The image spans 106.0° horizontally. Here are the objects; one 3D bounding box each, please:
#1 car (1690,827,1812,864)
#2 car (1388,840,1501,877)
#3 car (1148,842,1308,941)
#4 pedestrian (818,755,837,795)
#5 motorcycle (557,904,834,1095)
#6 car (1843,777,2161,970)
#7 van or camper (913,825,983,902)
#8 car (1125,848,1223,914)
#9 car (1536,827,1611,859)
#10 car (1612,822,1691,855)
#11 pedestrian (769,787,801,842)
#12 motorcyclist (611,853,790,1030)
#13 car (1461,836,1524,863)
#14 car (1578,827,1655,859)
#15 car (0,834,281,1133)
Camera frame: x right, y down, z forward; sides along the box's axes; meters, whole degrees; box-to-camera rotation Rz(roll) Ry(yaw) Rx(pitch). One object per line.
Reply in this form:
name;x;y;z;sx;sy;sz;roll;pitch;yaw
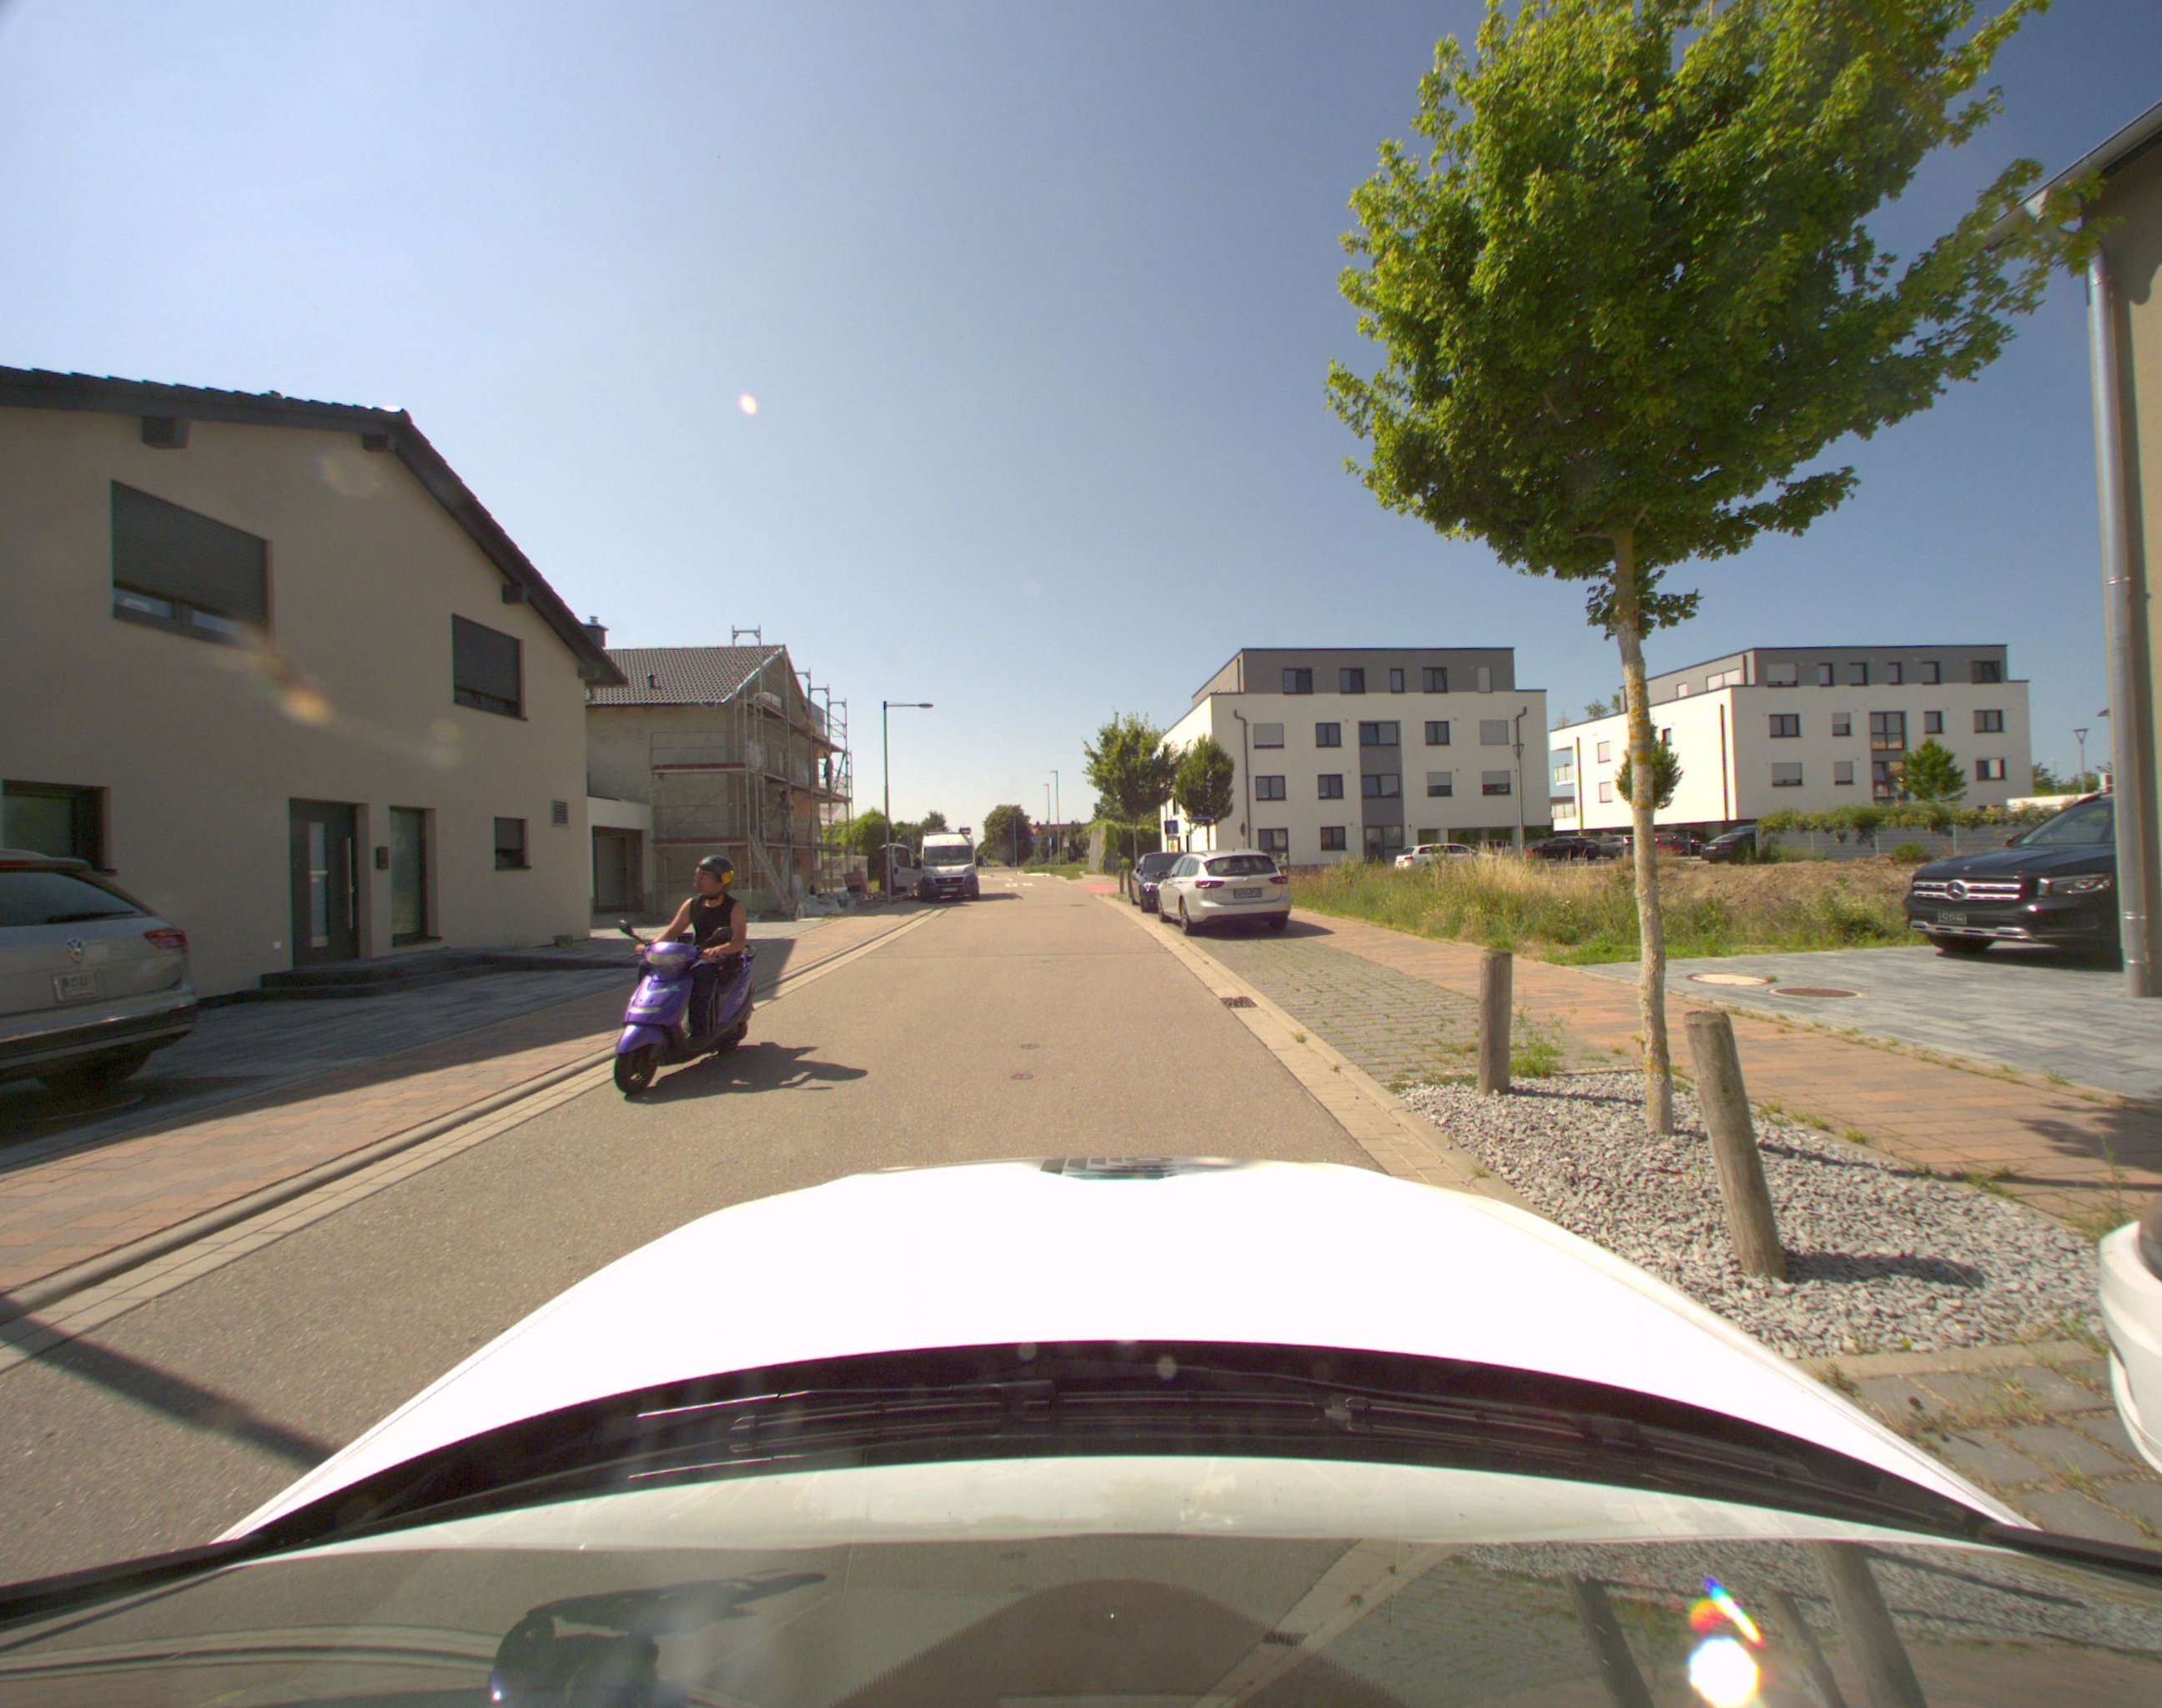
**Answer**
car;30.633;-0.389;37.288;4.151;1.478;1.879;-2;-1;-5
car;15.931;0.194;35.808;4.151;1.435;1.879;-2;-1;-5
car;2.636;0.598;16.019;1.914;1.511;5.289;-3;0;-3
pedestrian;-9.959;-3.095;32.003;0.565;1.500;0.741;-1;-3;-27
motorcycle;-2.850;1.011;6.458;0.952;1.035;2.437;-2;0;1
car;10.971;0.095;8.212;4.733;1.644;1.998;-3;-1;-2
van or camper;-4.987;0.374;30.785;2.272;2.553;6.347;-2;-1;-9
car;2.368;0.618;22.077;1.913;1.469;5.137;-3;0;-1
car;30.512;-0.630;50.599;1.873;1.810;4.166;-2;-1;-3
car;36.076;-0.941;51.616;1.873;1.810;4.166;-2;-1;-3
pedestrian;-9.472;-1.248;26.047;0.571;1.680;0.753;-5;-3;45
motorcyclist;-2.862;0.629;6.221;0.921;1.222;0.804;-2;0;1
car;25.678;-0.256;50.901;1.873;1.503;3.674;-2;-1;-4
car;33.404;-0.656;50.961;1.873;1.810;4.166;-2;-1;-3
car;-8.068;0.787;4.853;4.414;1.612;1.998;-2;0;-3
